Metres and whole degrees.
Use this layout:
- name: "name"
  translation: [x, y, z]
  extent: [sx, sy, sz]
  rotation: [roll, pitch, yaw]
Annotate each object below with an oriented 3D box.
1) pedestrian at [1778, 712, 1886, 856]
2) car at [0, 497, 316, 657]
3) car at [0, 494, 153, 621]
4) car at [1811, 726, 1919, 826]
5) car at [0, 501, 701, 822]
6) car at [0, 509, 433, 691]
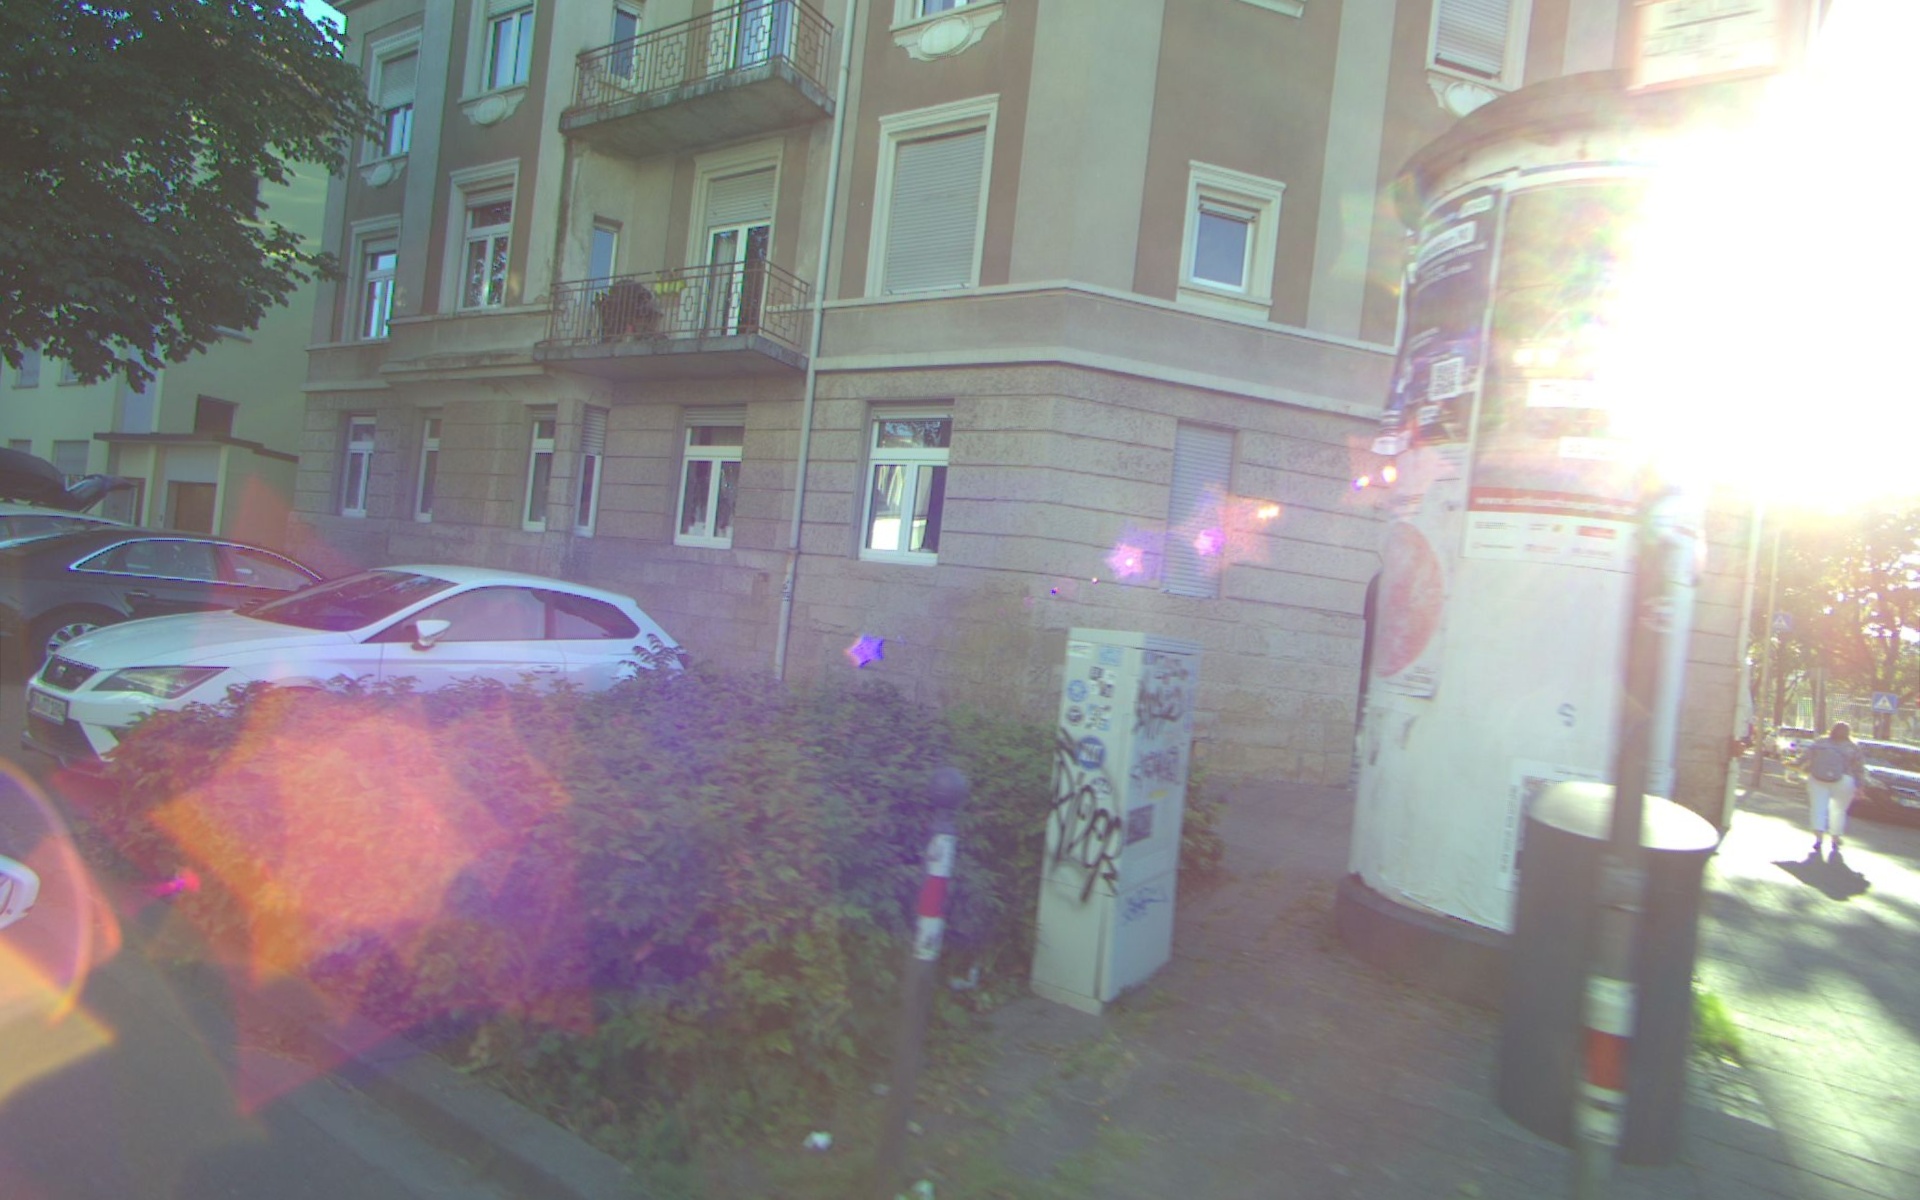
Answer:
- name: "pedestrian"
  translation: [10.599, 2.209, 12.265]
  extent: [0.730, 1.563, 0.819]
  rotation: [8, 0, 35]
- name: "car"
  translation: [-9.942, -0.273, 10.984]
  extent: [1.919, 1.544, 4.486]
  rotation: [7, 0, 26]
- name: "car"
  translation: [-14.405, -0.756, 13.980]
  extent: [1.843, 1.660, 4.534]
  rotation: [6, -1, 30]
- name: "car"
  translation: [18.050, 3.386, 19.421]
  extent: [1.782, 1.551, 4.080]
  rotation: [7, -1, 33]
- name: "car"
  translation: [-4.022, 0.395, 7.099]
  extent: [1.831, 1.523, 4.055]
  rotation: [6, -1, 30]
- name: "car"
  translation: [-7.659, 0.031, 9.807]
  extent: [1.645, 1.466, 4.148]
  rotation: [6, -1, 30]
